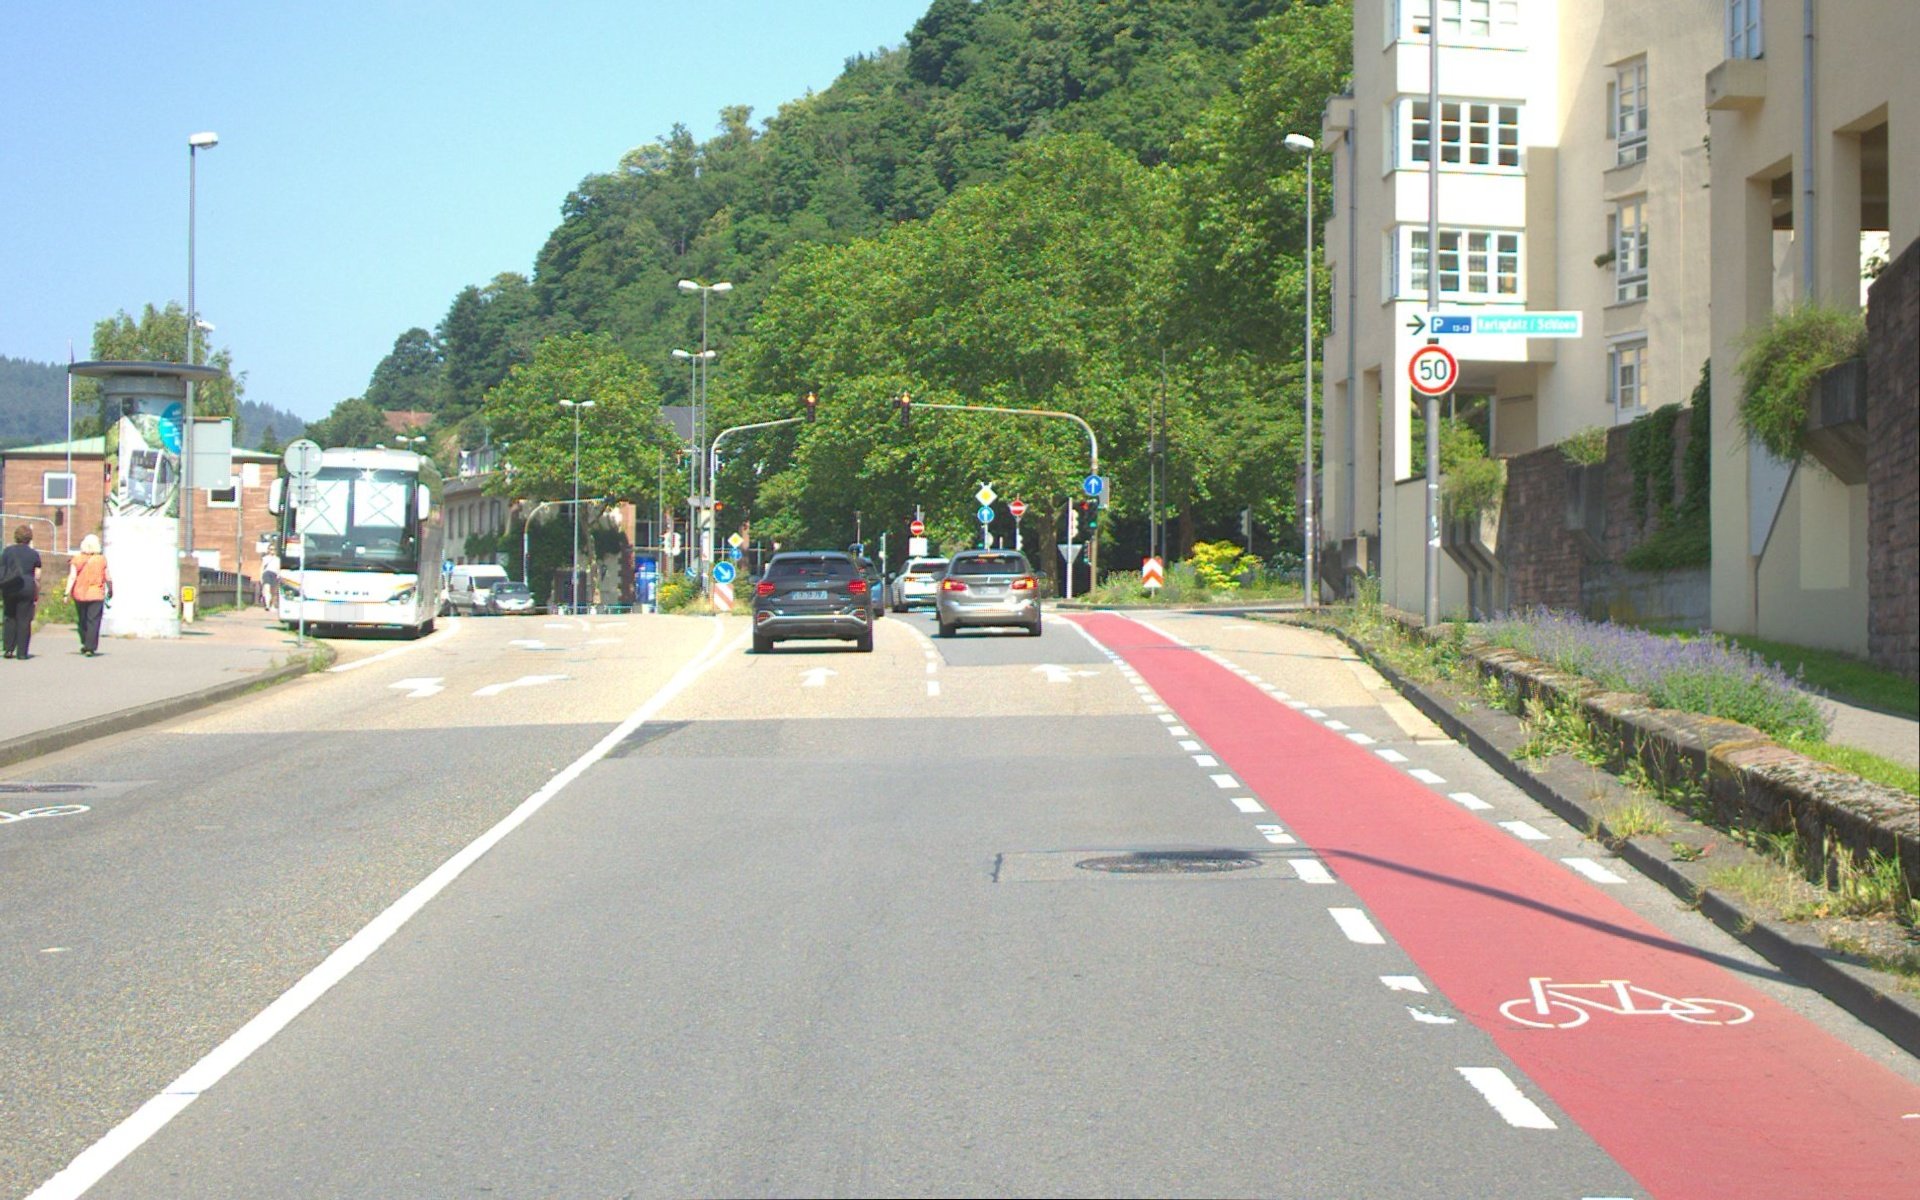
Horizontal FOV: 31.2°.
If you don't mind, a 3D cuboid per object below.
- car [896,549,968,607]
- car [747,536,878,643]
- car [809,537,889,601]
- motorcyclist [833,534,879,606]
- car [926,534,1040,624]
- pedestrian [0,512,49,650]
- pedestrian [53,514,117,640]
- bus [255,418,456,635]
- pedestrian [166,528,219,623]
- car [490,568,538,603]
[{"bbox_3d":[-0.807,-0.604,95.124,1.785,1.527,4.737,-1,0,-3],"label":"car"},{"bbox_3d":[-2.184,-0.161,51.902,1.869,1.508,4.151,1,0,-1],"label":"car"},{"bbox_3d":[-2.830,-0.781,86.828,1.866,1.557,4.001,-1,1,-4],"label":"car"},{"bbox_3d":[-2.450,-0.704,80.870,1.075,1.678,1.156,-1,1,-2],"label":"motorcyclist"},{"bbox_3d":[0.375,-0.372,61.432,1.888,1.516,4.306,1,0,-1],"label":"car"},{"bbox_3d":[-11.790,-0.240,42.901,0.683,1.703,0.773,0,0,-3],"label":"pedestrian"},{"bbox_3d":[-11.328,-0.297,44.512,0.702,1.615,0.817,0,0,-7],"label":"pedestrian"},{"bbox_3d":[-12.048,-1.439,69.632,2.956,3.788,13.247,4,0,-6],"label":"bus"},{"bbox_3d":[-14.647,-0.461,65.619,0.892,1.790,1.041,0,0,-7],"label":"pedestrian"},{"bbox_3d":[-19.467,-0.651,149.969,1.993,1.427,4.168,-1,1,-8],"label":"car"}]
